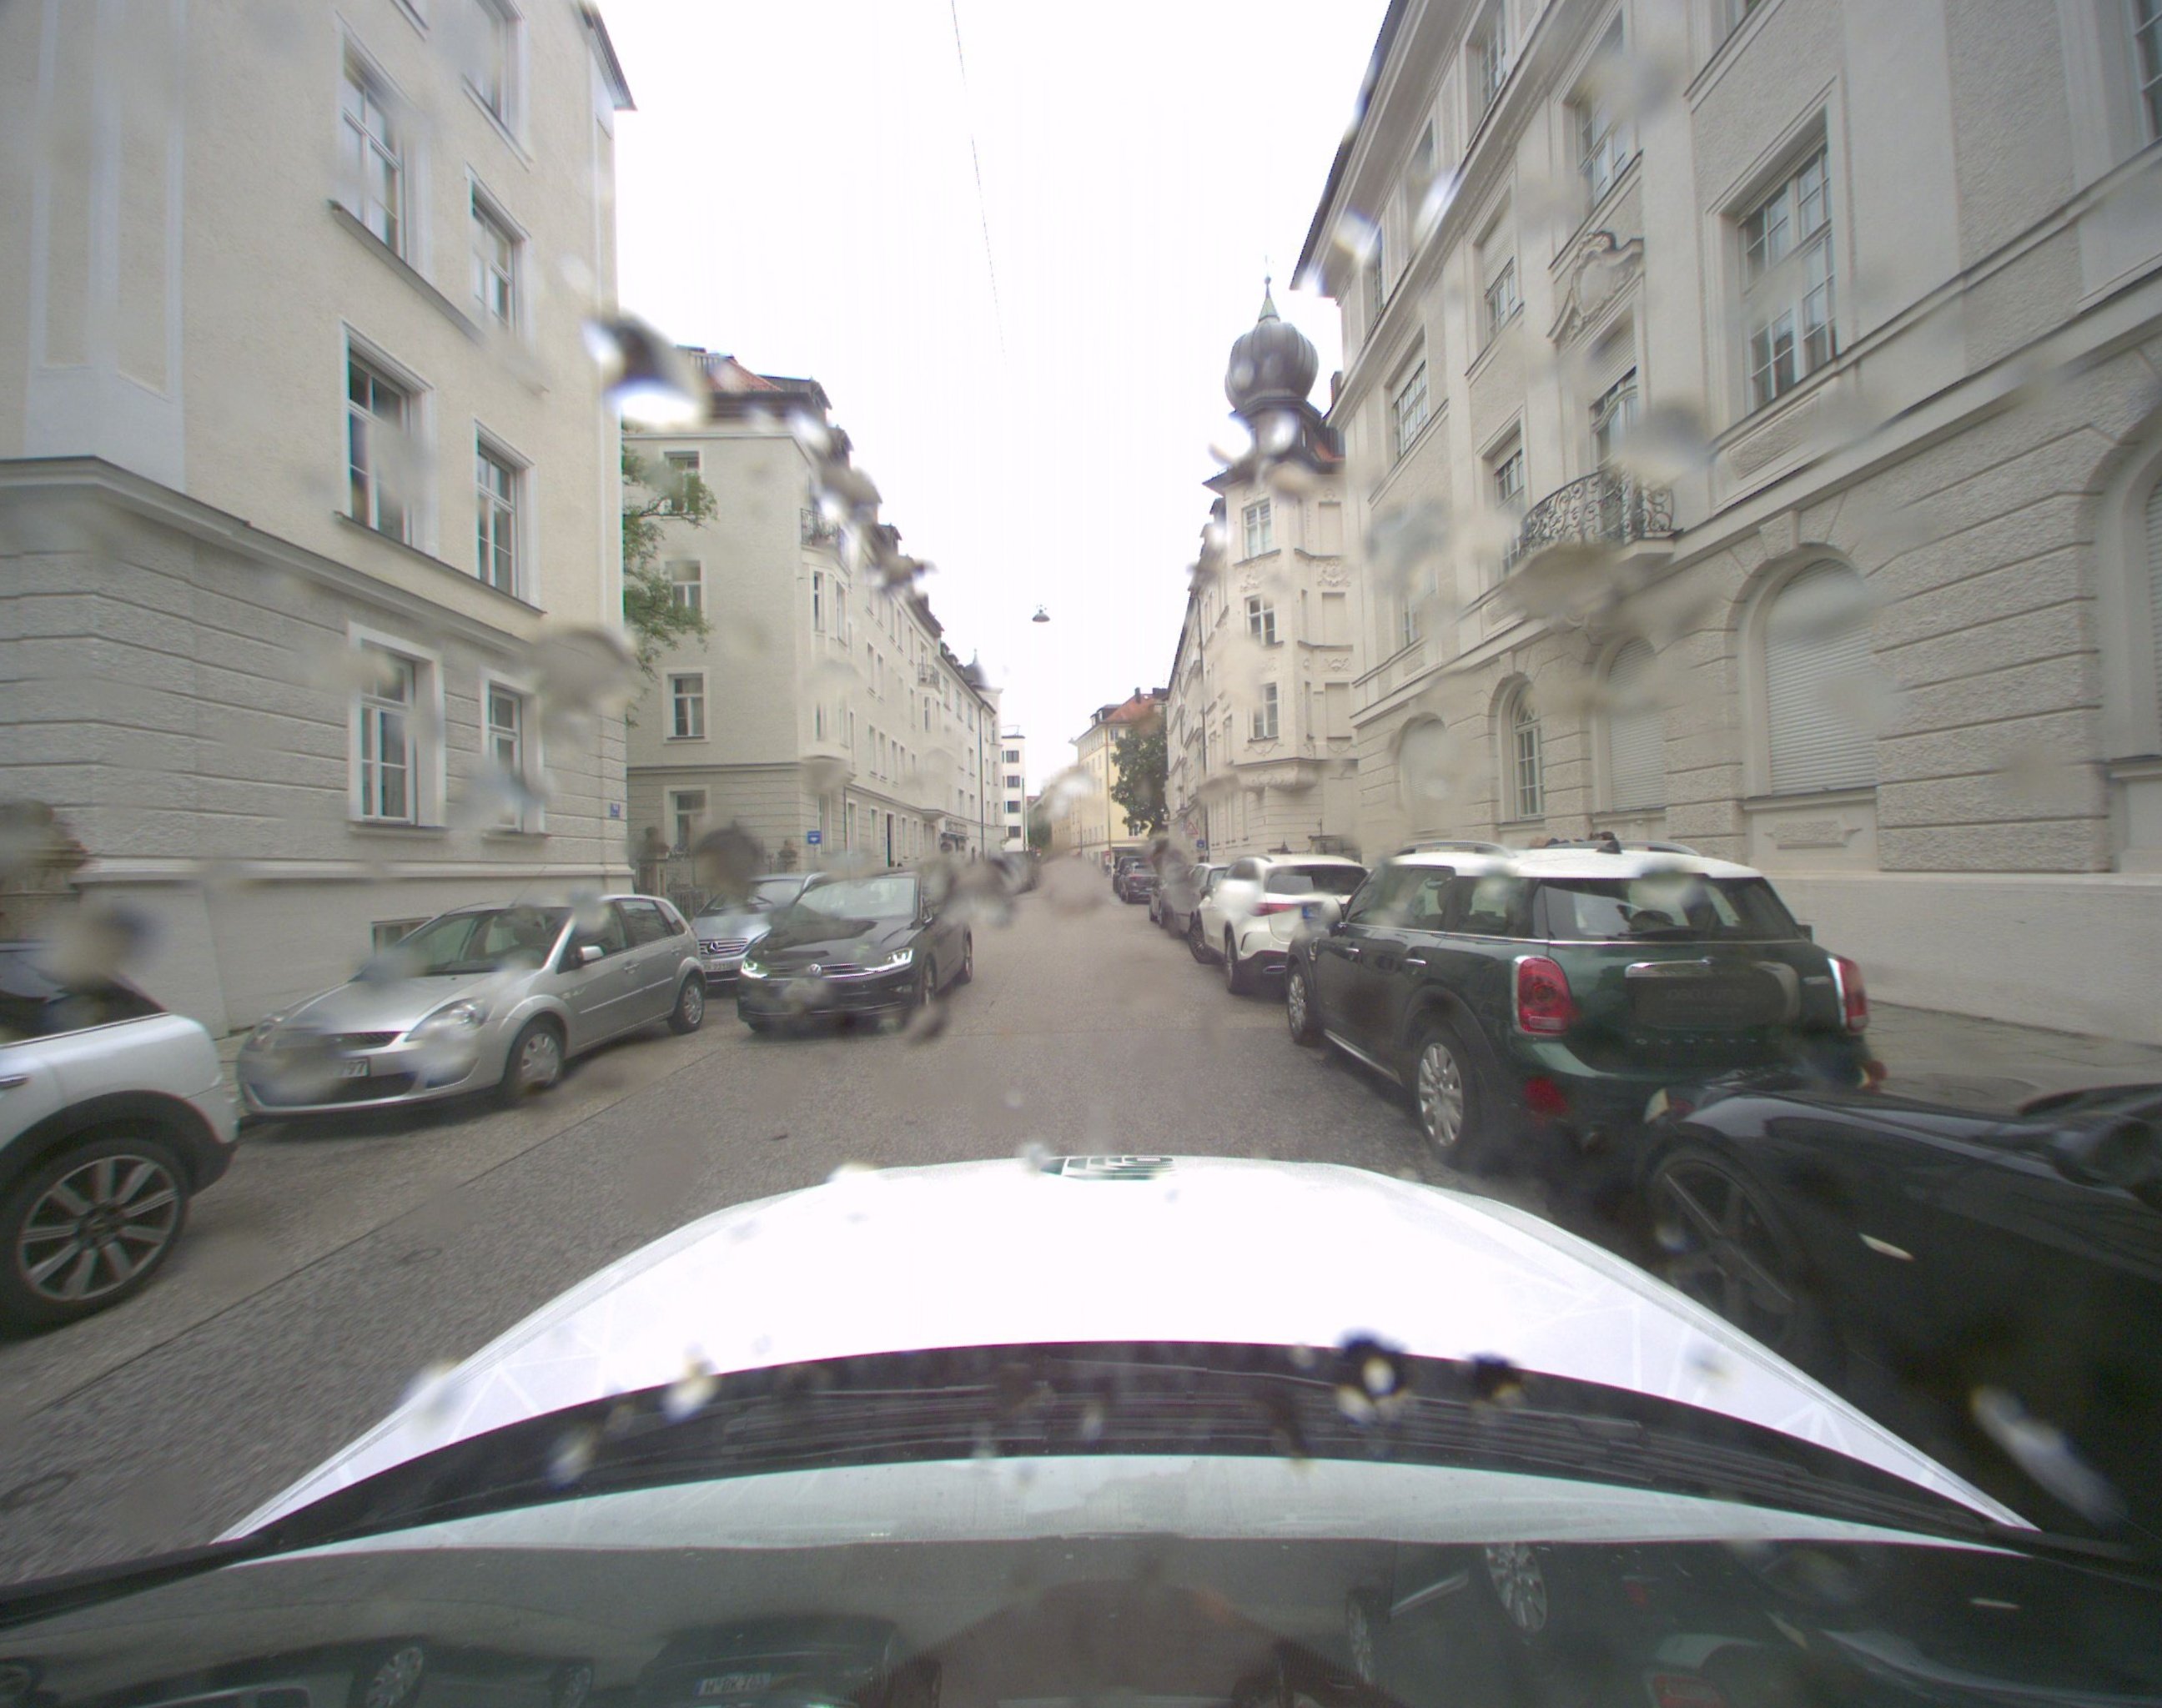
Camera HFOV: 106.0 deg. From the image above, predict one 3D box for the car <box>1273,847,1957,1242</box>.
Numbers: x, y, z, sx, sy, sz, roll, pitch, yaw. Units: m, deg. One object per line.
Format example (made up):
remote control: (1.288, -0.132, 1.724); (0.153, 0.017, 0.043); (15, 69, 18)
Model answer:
car: (2.626, 0.772, 5.341); (1.743, 1.525, 4.169); (-1, -1, 0)

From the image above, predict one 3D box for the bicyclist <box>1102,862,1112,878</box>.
bicyclist: (2.824, 1.707, 88.151); (0.782, 1.637, 0.971); (-1, -1, -14)

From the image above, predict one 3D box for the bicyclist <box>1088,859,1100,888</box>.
bicyclist: (0.755, 1.124, 46.830); (0.603, 1.606, 0.758); (-2, 0, 4)

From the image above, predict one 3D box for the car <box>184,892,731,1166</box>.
car: (-4.663, 1.158, 6.983); (1.641, 1.403, 3.996); (-4, -1, -3)

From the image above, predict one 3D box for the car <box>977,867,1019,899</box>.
car: (-4.243, 1.468, 42.227); (1.736, 1.487, 4.180); (-2, -1, 0)

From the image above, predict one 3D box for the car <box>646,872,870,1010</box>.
car: (-4.675, 1.160, 12.508); (1.691, 1.580, 4.061); (-4, 0, 0)

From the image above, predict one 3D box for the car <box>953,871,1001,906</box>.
car: (-4.692, 1.529, 37.353); (1.807, 1.385, 4.437); (-3, 0, -4)

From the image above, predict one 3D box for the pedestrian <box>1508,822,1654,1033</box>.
pedestrian: (4.544, 0.631, 7.463); (0.680, 1.775, 0.855); (-5, 0, 1)

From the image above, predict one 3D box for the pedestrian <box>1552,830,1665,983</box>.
pedestrian: (6.183, 0.588, 9.587); (0.680, 1.679, 0.812); (-4, 0, -1)

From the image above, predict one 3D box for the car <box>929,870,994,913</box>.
car: (-4.631, 1.431, 32.150); (1.789, 1.420, 4.510); (-5, -1, 0)

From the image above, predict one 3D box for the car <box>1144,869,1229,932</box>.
car: (2.575, 1.101, 20.758); (1.607, 1.395, 3.998); (0, -1, -1)

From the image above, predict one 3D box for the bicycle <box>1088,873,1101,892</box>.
bicycle: (0.774, 1.642, 46.829); (0.636, 1.004, 1.576); (-2, -1, 4)

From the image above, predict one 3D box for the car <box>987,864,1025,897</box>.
car: (-4.274, 1.478, 46.966); (1.741, 1.673, 4.273); (-5, 0, -1)

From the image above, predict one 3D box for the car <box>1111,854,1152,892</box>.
car: (2.667, 0.995, 43.565); (1.905, 1.885, 4.713); (0, -1, 0)

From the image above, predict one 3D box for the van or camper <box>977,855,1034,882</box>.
van or camper: (-8.049, 1.544, 86.961); (5.901, 2.677, 1.868); (-2, -3, -8)

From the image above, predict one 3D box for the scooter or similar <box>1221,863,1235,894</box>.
scooter or similar: (6.457, 1.060, 35.807); (0.504, 1.287, 1.354); (-4, -1, 8)

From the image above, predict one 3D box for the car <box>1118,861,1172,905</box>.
car: (2.465, 1.073, 31.993); (1.703, 1.588, 3.997); (0, 0, -2)

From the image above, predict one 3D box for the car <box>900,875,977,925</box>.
car: (-4.569, 1.443, 26.752); (1.845, 1.367, 4.698); (-2, -1, -2)

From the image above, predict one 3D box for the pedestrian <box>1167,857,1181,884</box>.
pedestrian: (6.019, 1.066, 52.822); (0.678, 1.674, 0.653); (-4, -1, -3)

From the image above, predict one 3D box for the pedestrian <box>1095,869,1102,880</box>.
pedestrian: (2.064, 2.385, 93.638); (0.696, 1.270, 0.652); (-3, -1, 4)

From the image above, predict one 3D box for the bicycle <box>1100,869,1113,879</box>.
bicycle: (2.805, 2.160, 88.284); (0.848, 1.001, 2.159); (-1, -1, -14)

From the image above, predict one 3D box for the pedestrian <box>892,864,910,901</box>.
pedestrian: (-8.393, 1.329, 38.034); (0.696, 1.707, 0.665); (-2, -1, -3)

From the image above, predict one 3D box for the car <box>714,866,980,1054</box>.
car: (-2.322, 0.968, 9.256); (1.719, 1.533, 4.085); (-4, -1, 0)

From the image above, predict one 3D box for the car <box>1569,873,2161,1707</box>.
car: (2.707, 0.812, 0.967); (1.706, 1.452, 4.223); (-1, 0, 0)

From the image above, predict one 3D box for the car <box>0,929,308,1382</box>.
car: (-4.532, 1.064, 1.776); (1.791, 1.435, 4.078); (-2, -1, 0)

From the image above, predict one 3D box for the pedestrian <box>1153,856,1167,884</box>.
pedestrian: (5.054, 1.042, 52.296); (0.701, 1.728, 0.702); (-3, -1, -3)

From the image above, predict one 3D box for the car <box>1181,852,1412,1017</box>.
car: (2.496, 0.824, 10.626); (1.889, 1.636, 4.392); (-2, 0, 1)

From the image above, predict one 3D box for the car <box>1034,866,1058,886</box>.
car: (-3.009, 1.892, 70.889); (1.670, 1.597, 3.946); (-4, -1, 2)

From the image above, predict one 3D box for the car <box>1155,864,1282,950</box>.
car: (2.638, 0.964, 16.484); (1.704, 1.501, 3.996); (-1, -1, -3)
